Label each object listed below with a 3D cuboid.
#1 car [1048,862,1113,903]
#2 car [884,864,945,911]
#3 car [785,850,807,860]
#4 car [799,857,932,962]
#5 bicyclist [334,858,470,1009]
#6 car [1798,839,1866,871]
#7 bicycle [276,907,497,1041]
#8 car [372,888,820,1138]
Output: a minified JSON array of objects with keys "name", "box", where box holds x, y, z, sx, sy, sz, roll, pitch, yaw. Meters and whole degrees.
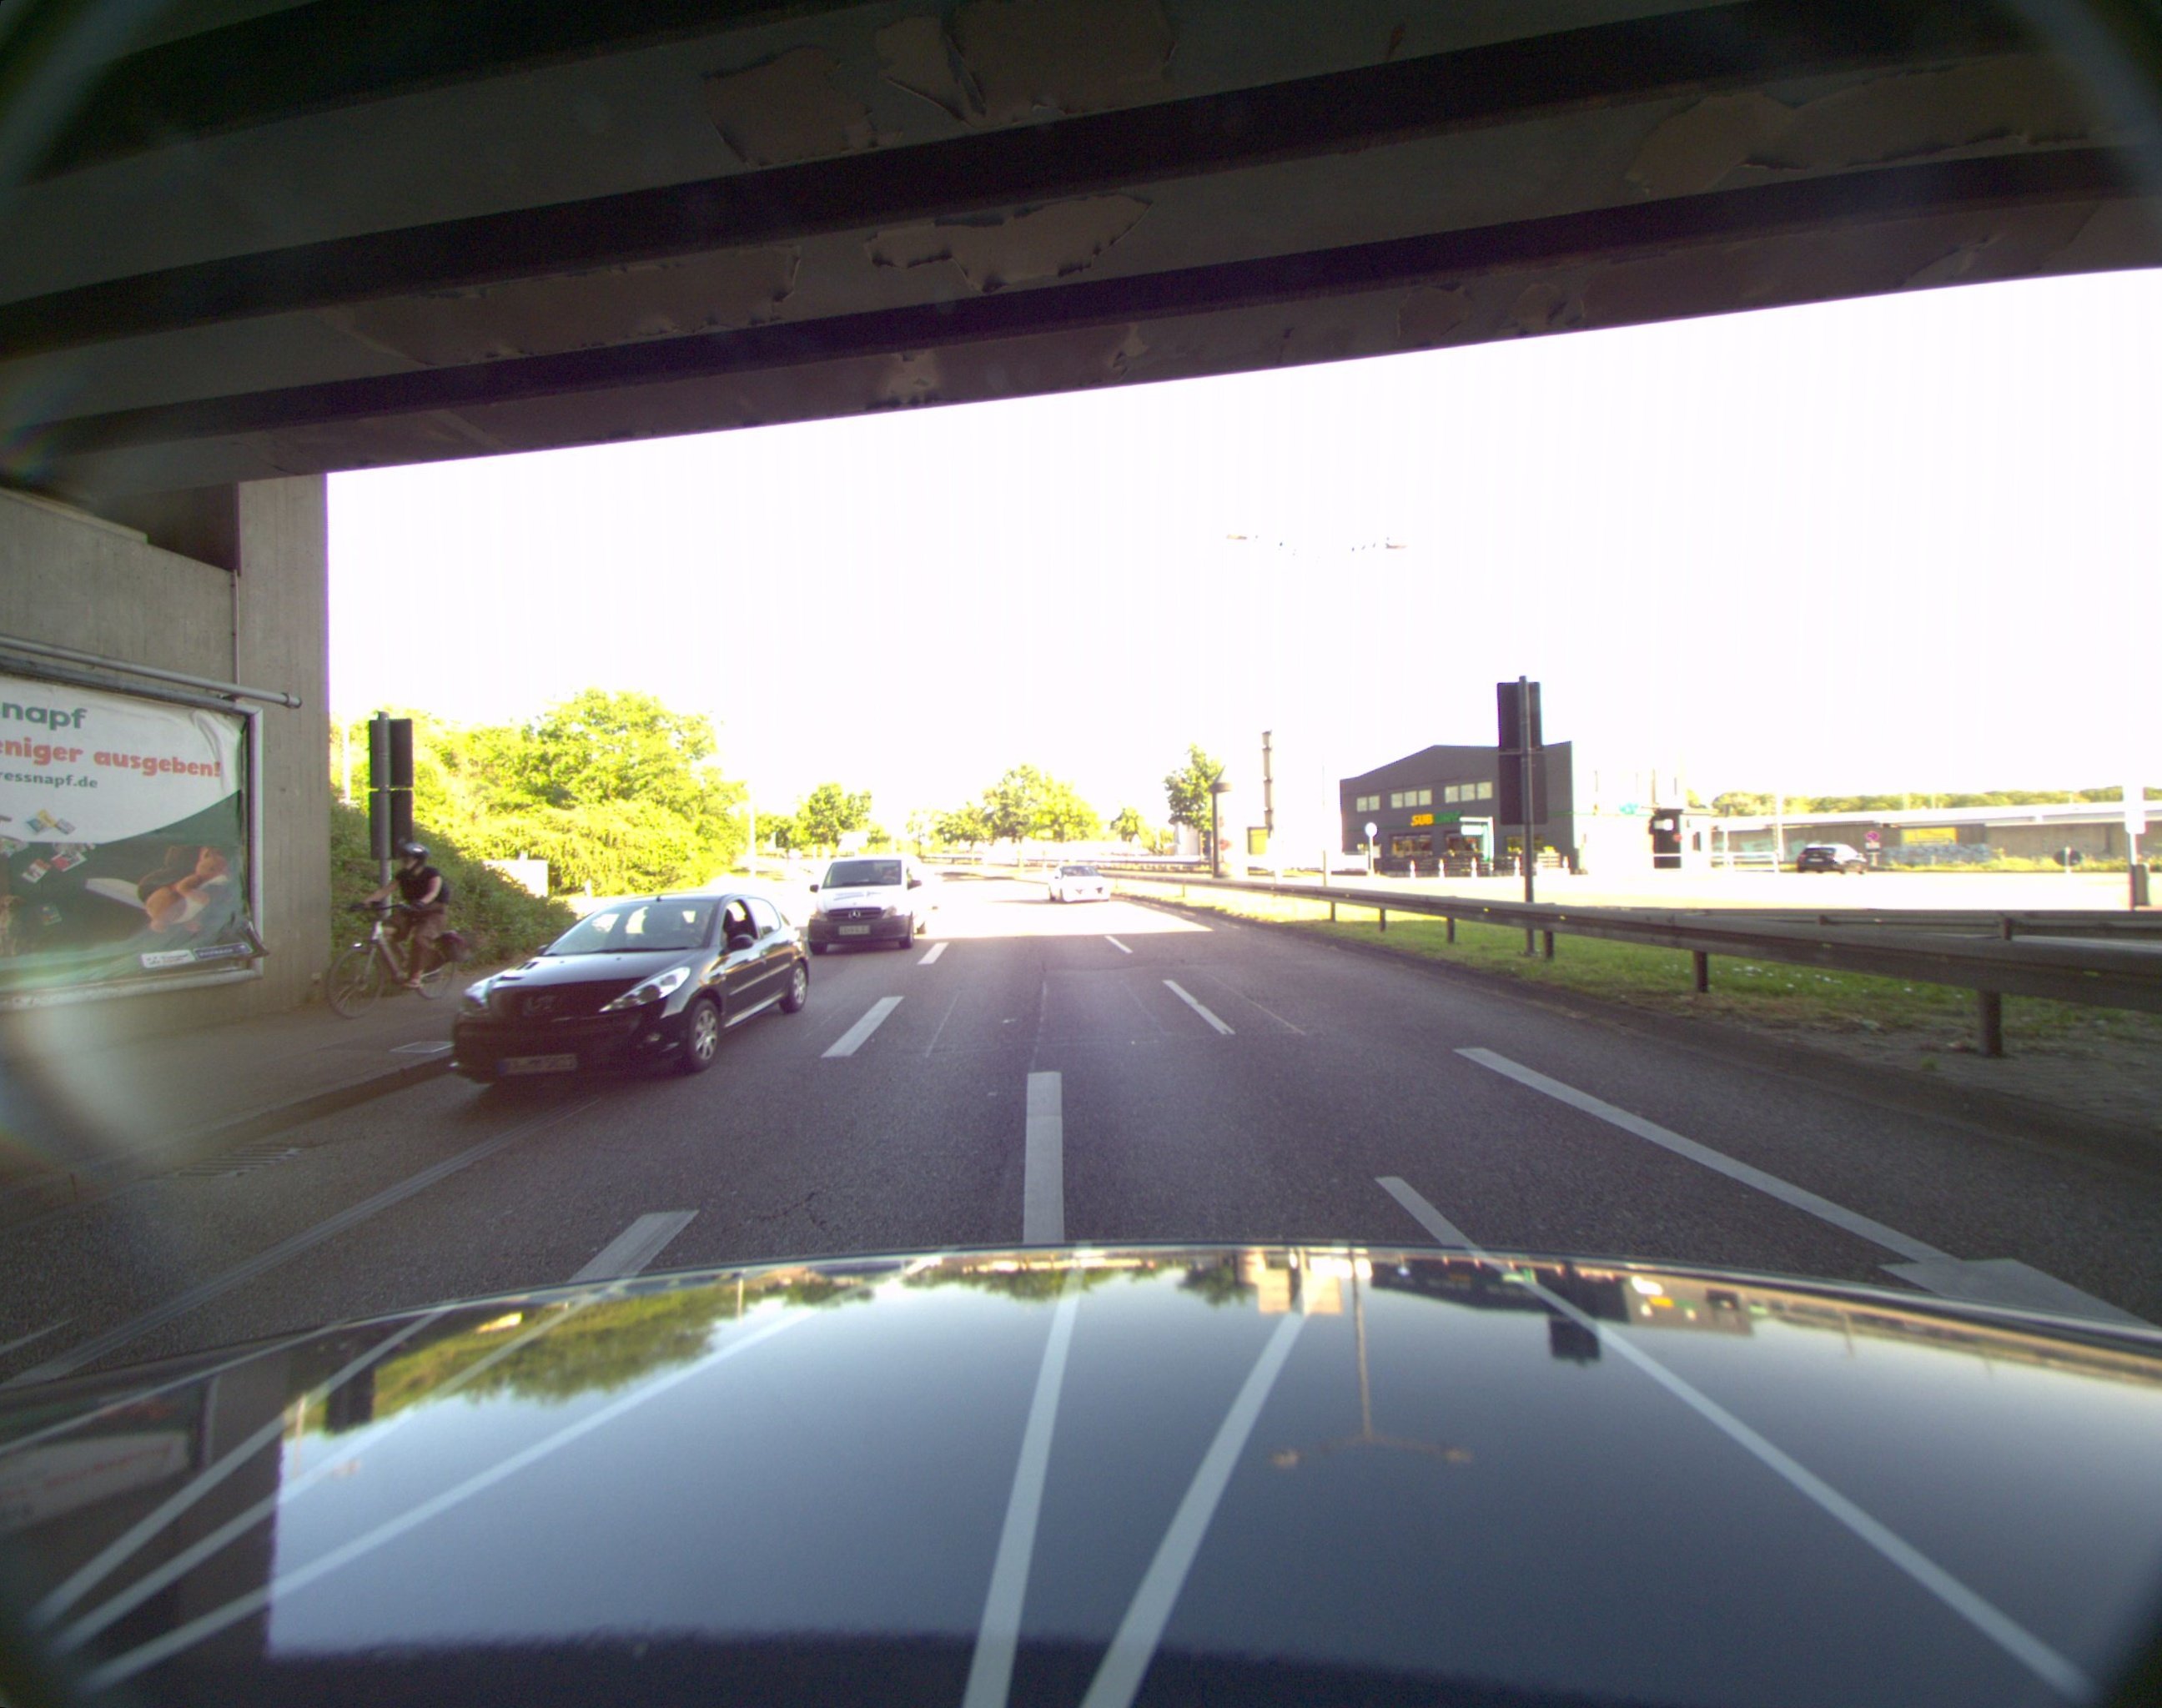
[{"name":"car","box":[-0.089,1.069,29.280,1.738,1.395,3.868,-2,-1,-11]},{"name":"car","box":[-6.278,1.215,29.130,2.000,1.542,4.417,-2,1,-9]},{"name":"car","box":[-49.330,0.170,131.435,4.283,1.597,1.810,-1,1,45]},{"name":"car","box":[-4.377,1.007,16.212,1.903,1.825,4.832,-2,0,-7]},{"name":"bicyclist","box":[-7.261,0.812,8.169,0.654,1.524,0.847,1,-1,2]},{"name":"car","box":[38.434,0.036,38.883,4.007,1.434,1.878,-3,1,-37]},{"name":"bicycle","box":[-7.272,1.201,8.093,0.652,1.160,1.779,1,-1,2]},{"name":"car","box":[-3.890,1.149,6.969,1.750,1.447,3.716,-2,0,-2]}]
